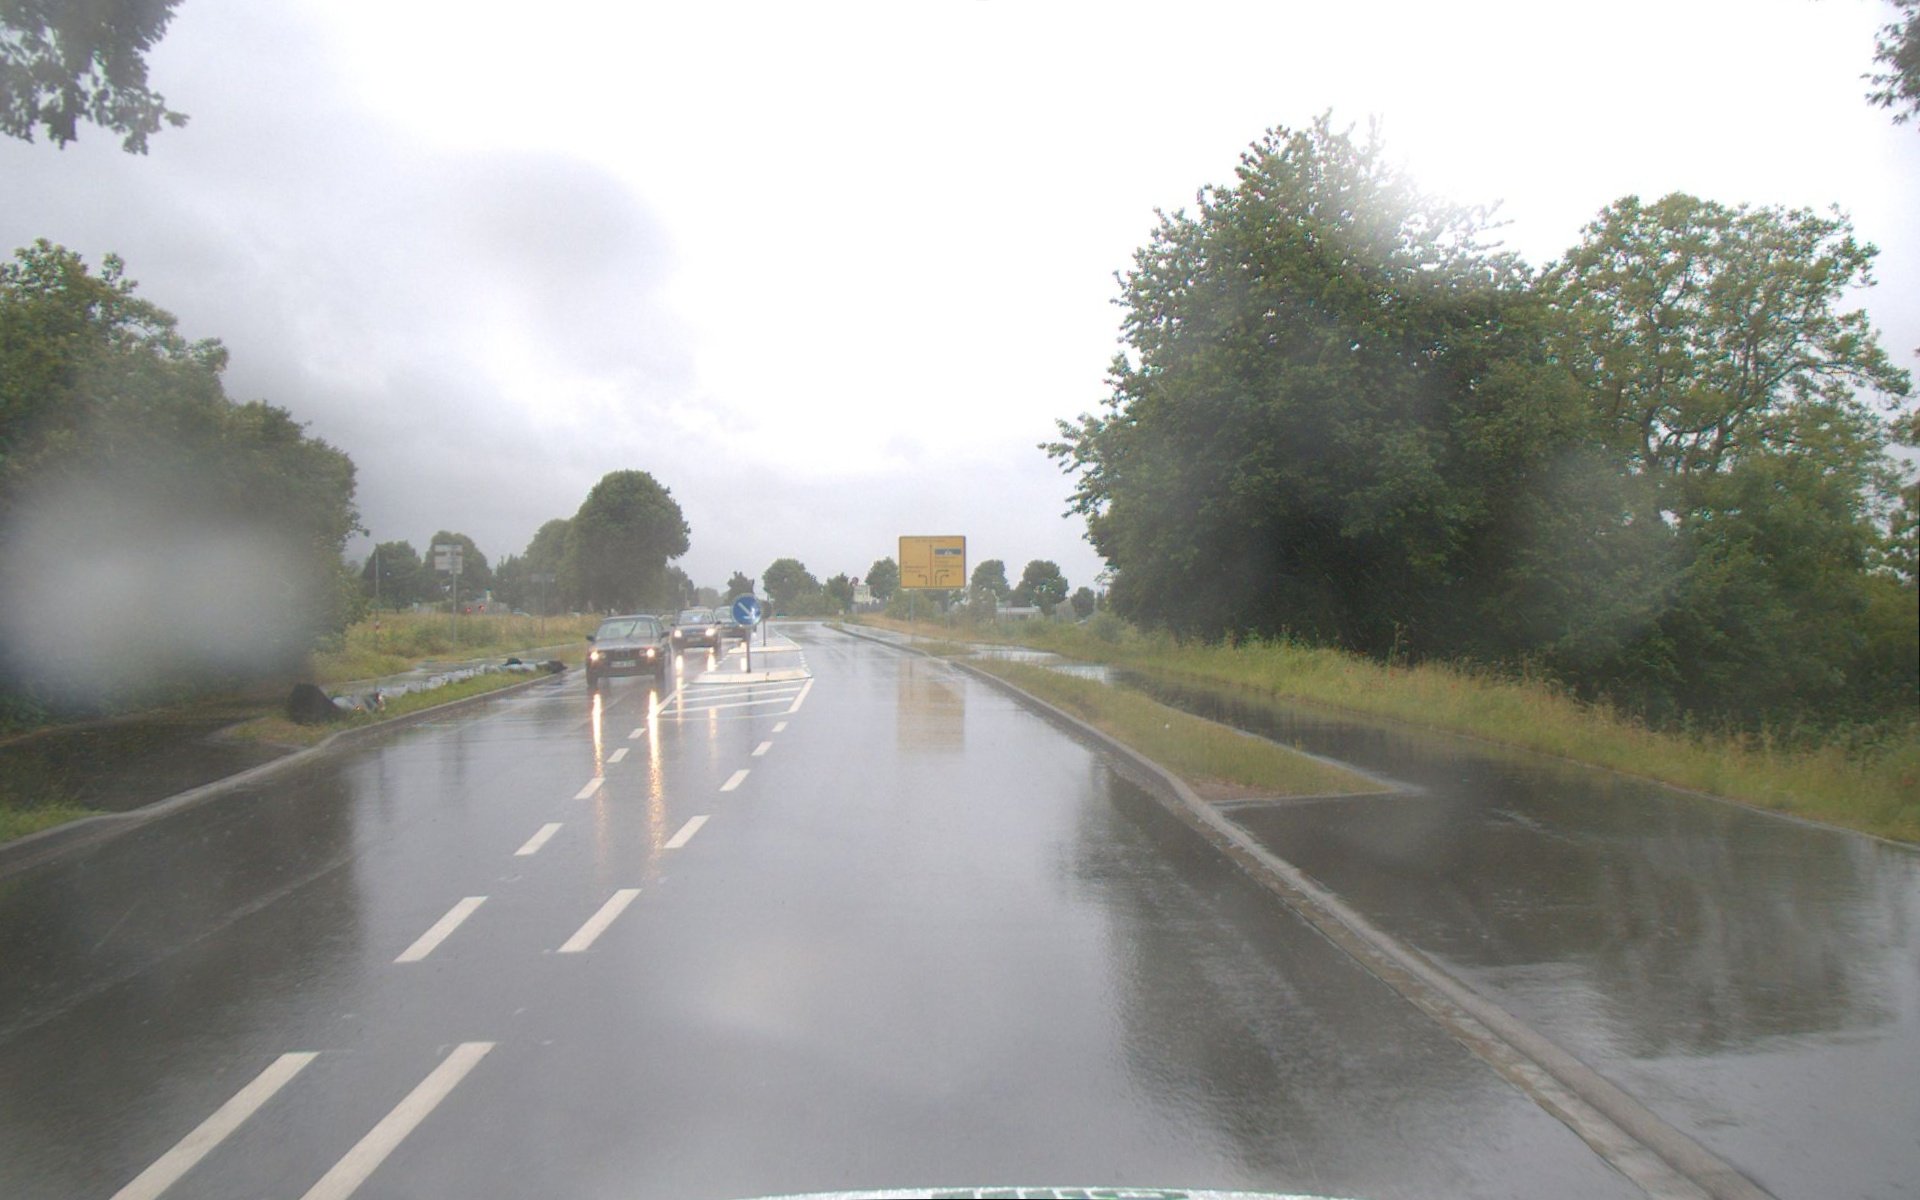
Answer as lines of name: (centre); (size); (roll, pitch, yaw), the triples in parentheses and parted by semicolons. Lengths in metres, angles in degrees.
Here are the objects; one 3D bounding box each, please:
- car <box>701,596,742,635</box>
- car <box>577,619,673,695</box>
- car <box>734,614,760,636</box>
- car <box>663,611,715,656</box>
car: (-11.347, 0.722, 78.501); (1.710, 1.748, 4.256); (-3, 0, -10)
car: (-7.099, 1.170, 35.361); (1.651, 1.407, 4.217); (-3, 0, -8)
car: (-15.026, 1.740, 116.828); (1.664, 1.426, 3.762); (-3, 0, -5)
car: (-9.818, 1.195, 60.097); (1.709, 1.471, 3.676); (-3, 0, -8)
